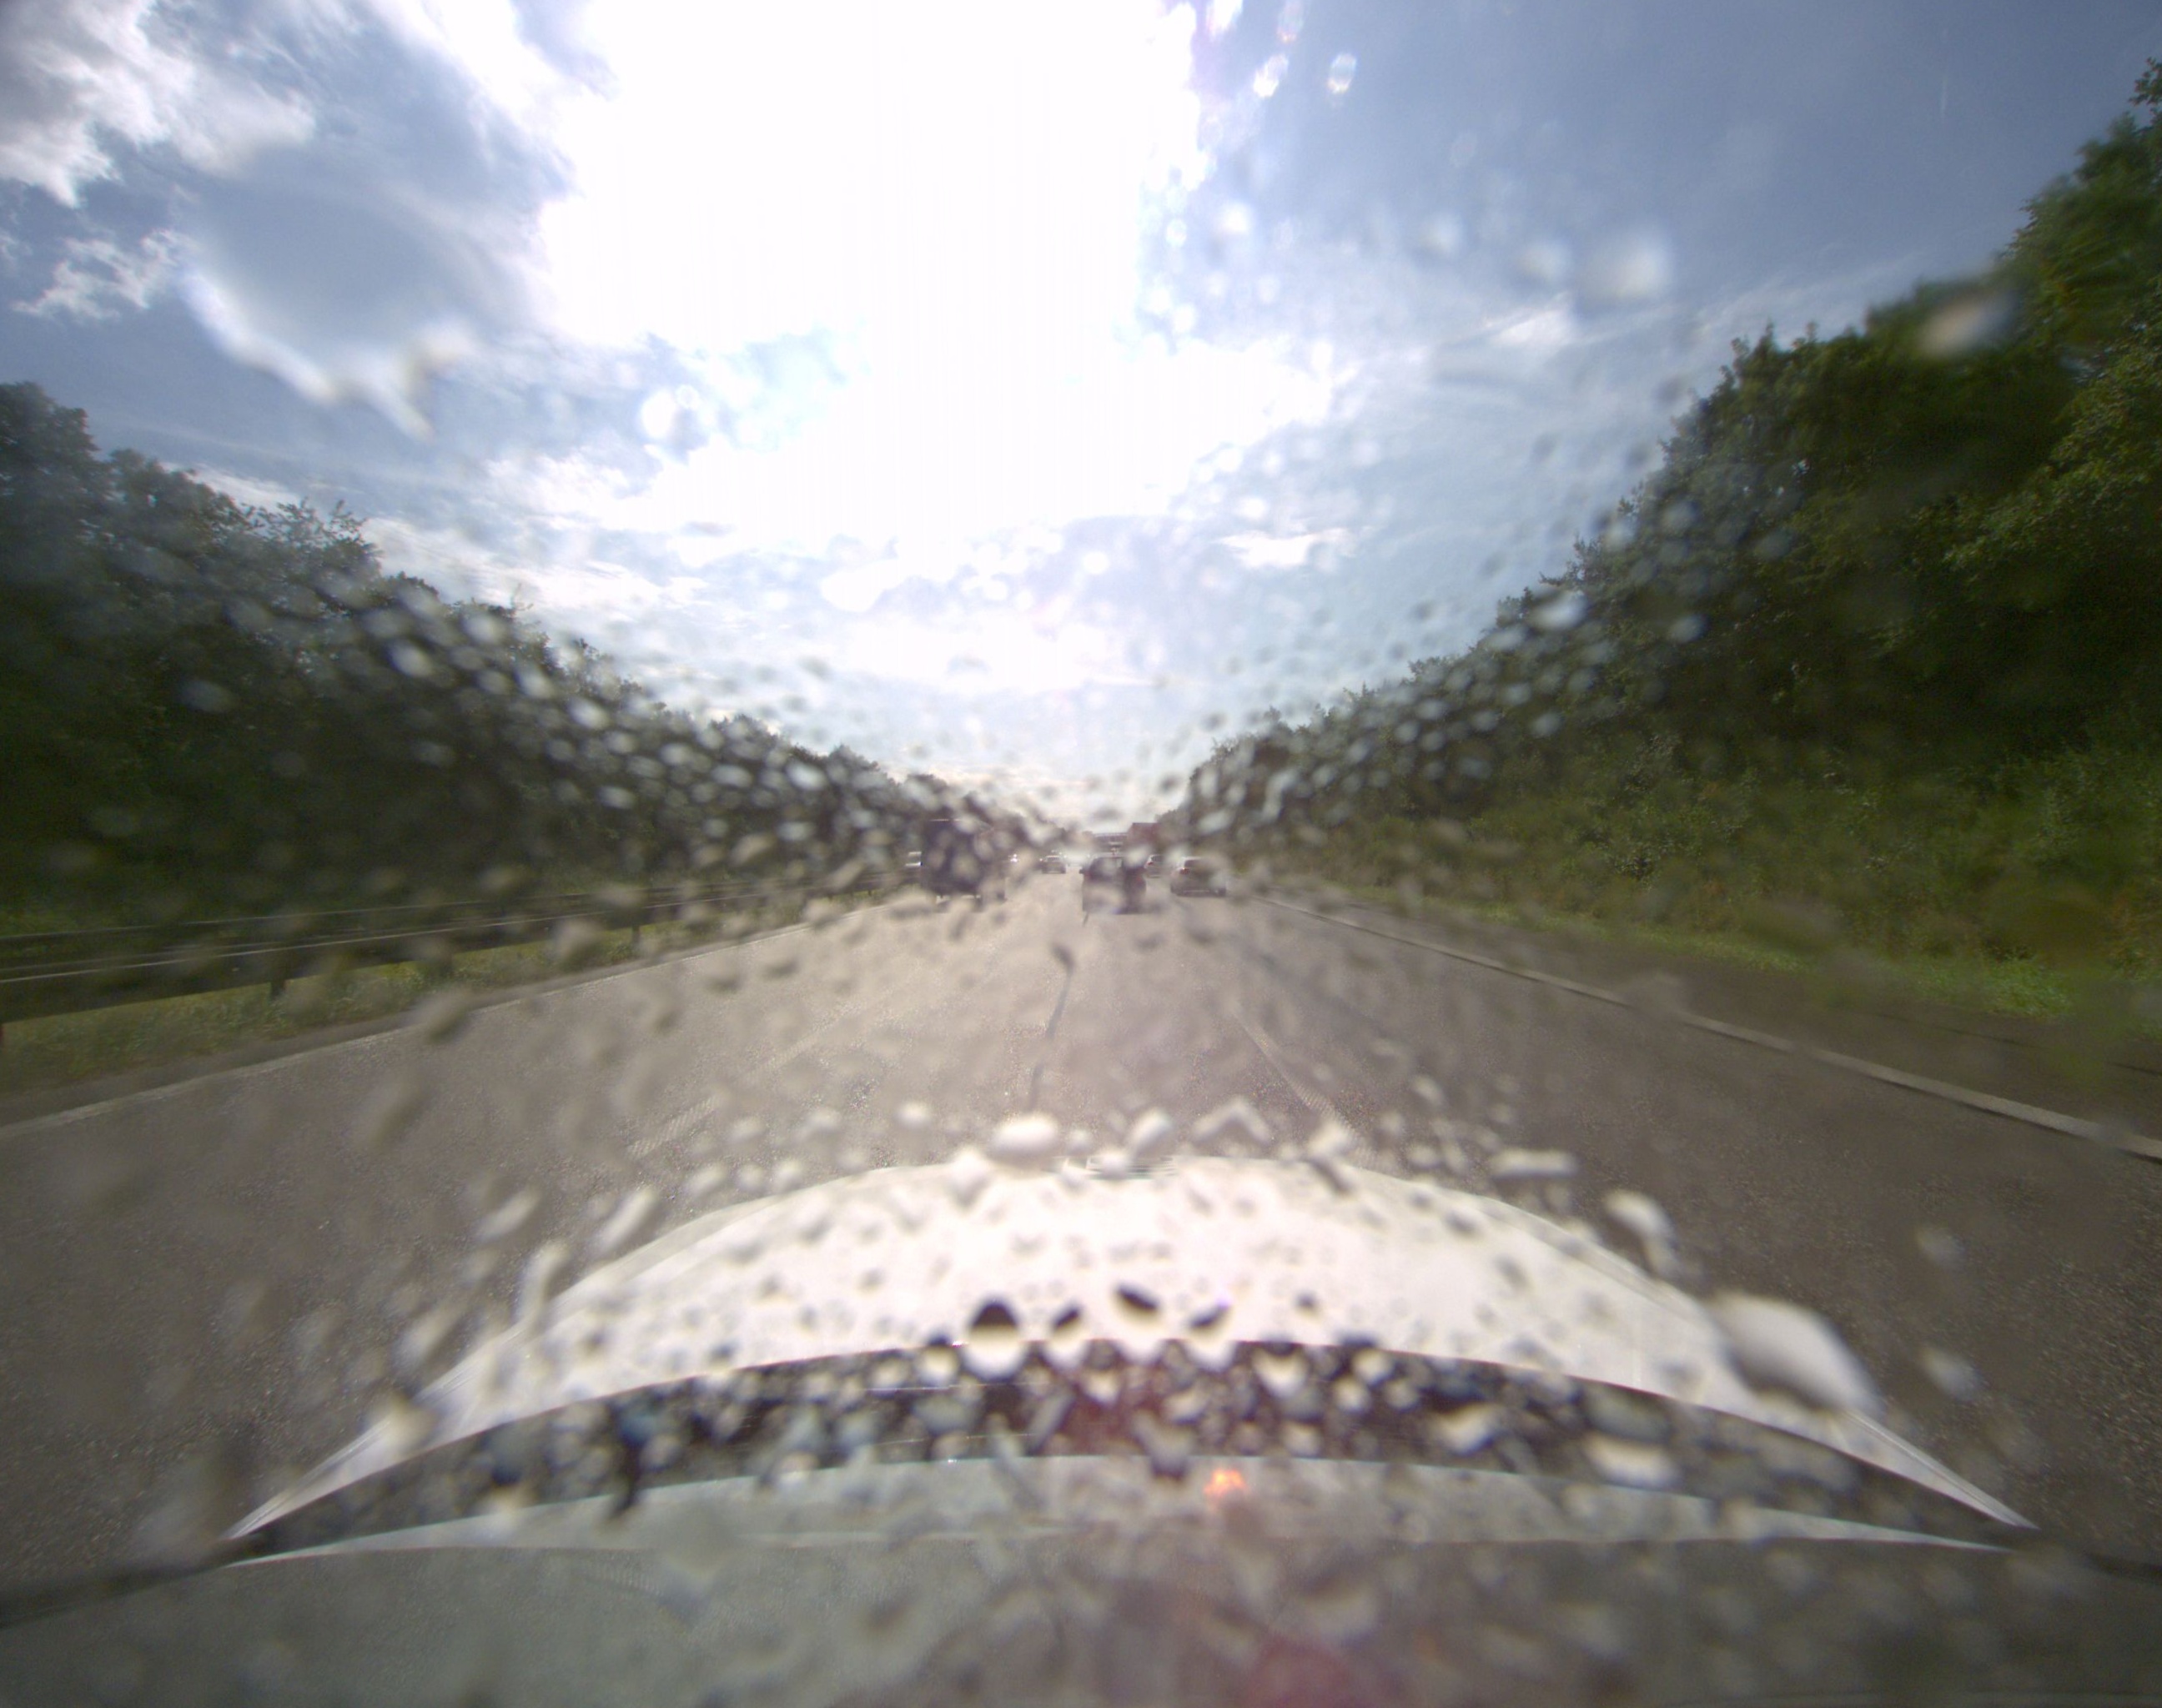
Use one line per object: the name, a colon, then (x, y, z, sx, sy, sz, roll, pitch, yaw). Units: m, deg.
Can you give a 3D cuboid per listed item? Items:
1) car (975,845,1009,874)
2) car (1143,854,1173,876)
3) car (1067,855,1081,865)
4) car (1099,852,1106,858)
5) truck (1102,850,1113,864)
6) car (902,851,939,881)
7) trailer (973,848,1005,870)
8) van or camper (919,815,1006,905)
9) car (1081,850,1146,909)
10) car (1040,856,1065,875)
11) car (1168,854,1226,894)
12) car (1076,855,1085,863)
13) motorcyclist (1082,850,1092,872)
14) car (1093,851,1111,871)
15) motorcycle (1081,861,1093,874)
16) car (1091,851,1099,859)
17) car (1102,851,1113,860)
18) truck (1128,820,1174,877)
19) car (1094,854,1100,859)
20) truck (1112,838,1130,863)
car: (-7.701, 0.470, 70.899, 2.175, 2.452, 5.749, 0, 0, 1)
car: (5.062, 0.709, 53.850, 1.674, 1.442, 3.905, 0, 0, 1)
car: (-0.930, 0.810, 111.416, 1.745, 1.457, 3.390, 0, 0, 1)
car: (6.699, 0.294, 256.148, 1.986, 1.728, 4.002, -1, 0, 2)
truck: (5.624, 0.576, 171.522, 2.184, 2.875, 4.850, 0, 0, 1)
car: (-16.013, 1.189, 81.579, 2.255, 2.870, 6.932, 0, 0, 1)
trailer: (-16.833, 0.919, 149.999, 2.978, 3.831, 17.965, 0, 0, 3)
van or camper: (-3.766, 0.193, 26.903, 1.986, 2.669, 5.385, 0, 0, 1)
car: (0.884, 0.682, 23.304, 1.712, 1.568, 3.485, 0, 0, 1)
car: (-2.391, 0.961, 68.904, 1.848, 1.551, 3.485, 0, 0, 1)
car: (4.329, 0.711, 30.941, 1.686, 1.425, 4.220, 0, 0, 1)
car: (-0.110, 0.800, 139.088, 1.455, 1.393, 3.312, 0, 0, 1)
motorcyclist: (0.467, 0.525, 62.542, 0.799, 1.633, 1.013, 0, 0, 1)
car: (1.837, 0.586, 72.055, 1.526, 1.746, 3.485, 0, 0, 1)
motorcycle: (0.456, 1.016, 62.583, 0.887, 1.000, 2.896, 0, 0, 1)
car: (3.597, 0.338, 212.523, 1.986, 2.013, 4.001, -2, 0, 1)
car: (3.956, 0.200, 120.190, 1.547, 1.383, 3.210, 0, 0, 1)
truck: (6.263, -0.401, 76.029, 3.635, 4.720, 16.790, 0, 0, 3)
car: (3.751, 0.633, 190.707, 1.544, 1.267, 3.485, 0, 0, 1)
truck: (7.468, -0.680, 152.906, 3.243, 4.479, 12.429, 0, 0, 3)
